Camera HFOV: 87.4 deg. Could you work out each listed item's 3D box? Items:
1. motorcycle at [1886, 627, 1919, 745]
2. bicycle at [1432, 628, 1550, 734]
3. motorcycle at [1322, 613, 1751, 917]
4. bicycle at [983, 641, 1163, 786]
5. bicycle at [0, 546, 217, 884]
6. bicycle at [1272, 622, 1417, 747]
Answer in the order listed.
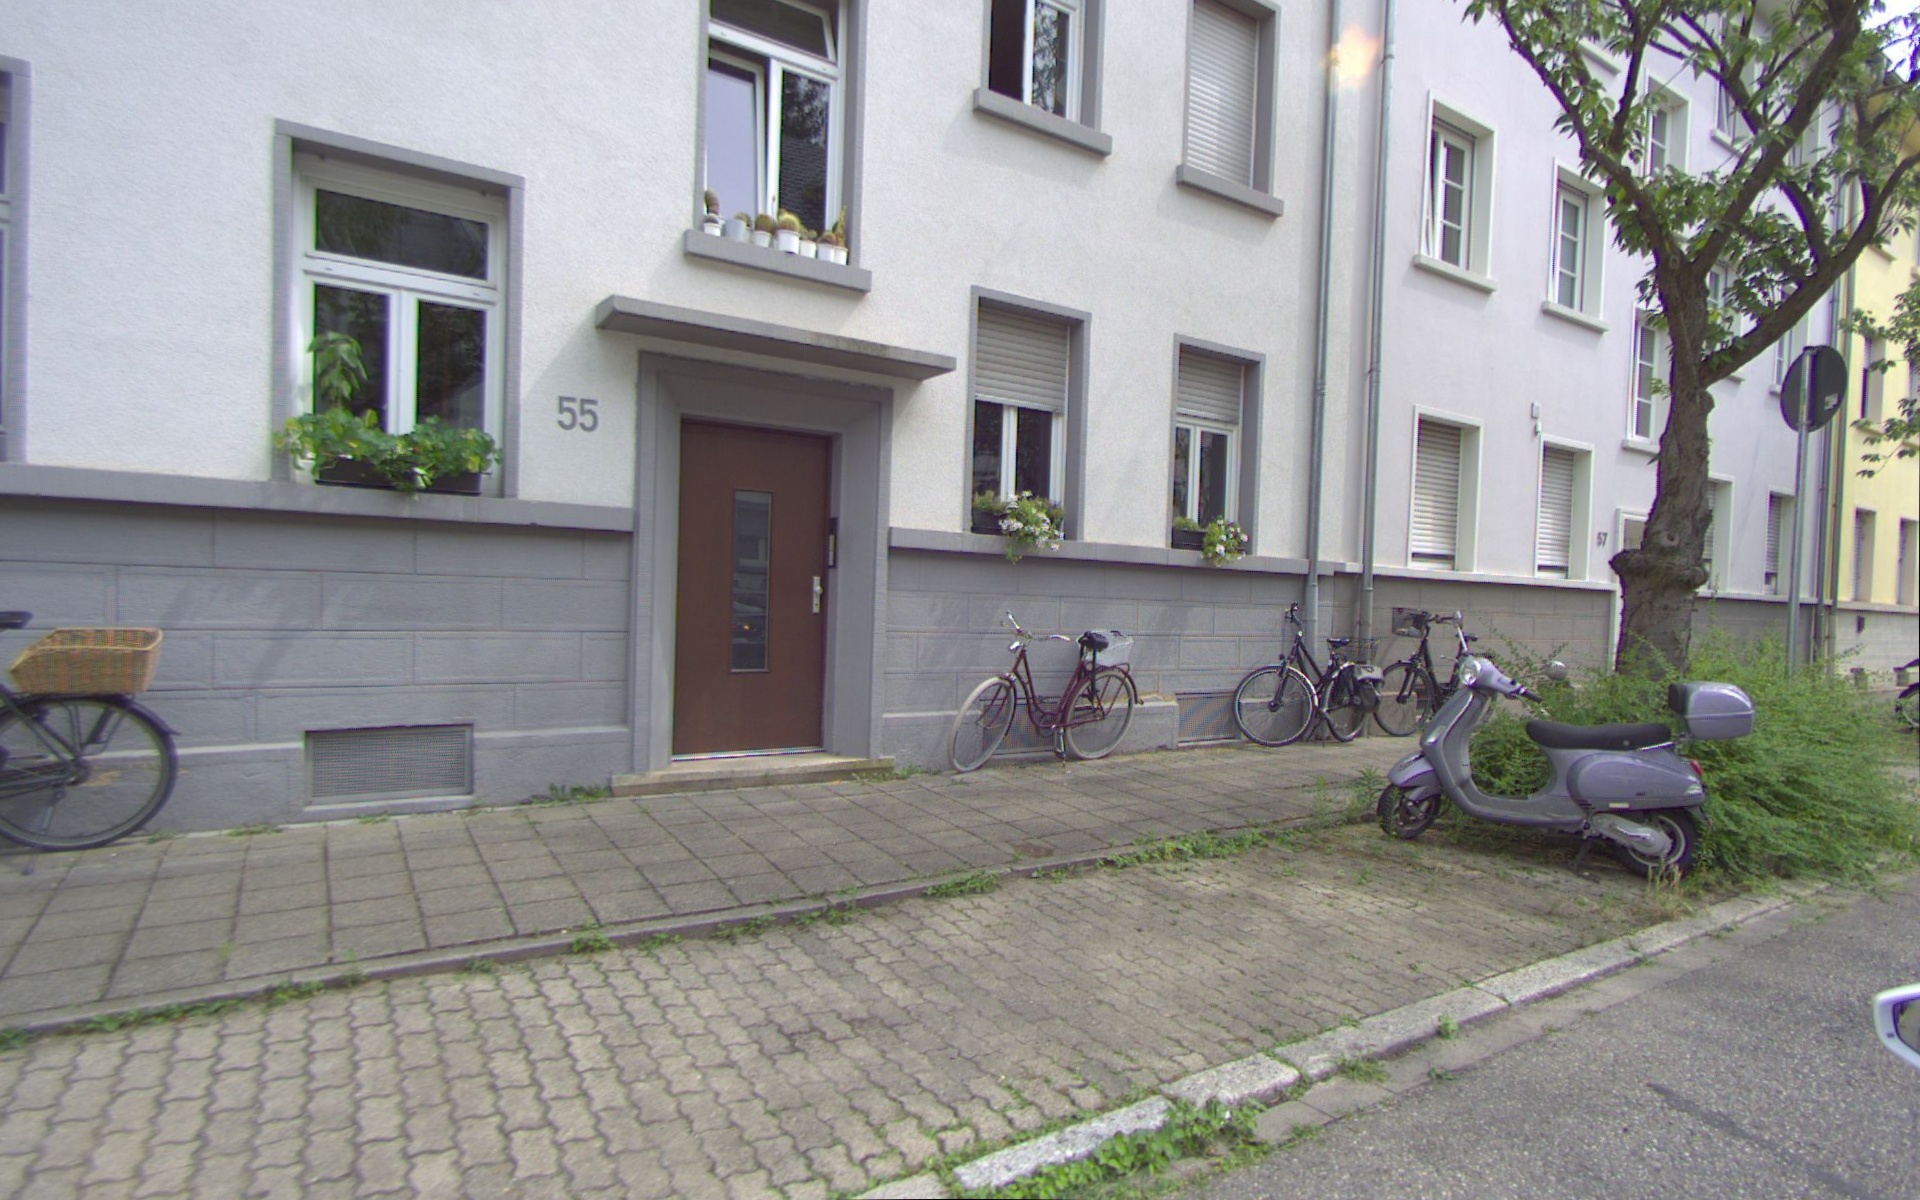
[{"bbox_3d":[13.115,1.099,12.533,2.199,1.501,0.596,0,-2,31],"label":"motorcycle"},{"bbox_3d":[5.461,0.813,10.307,1.418,1.020,0.418,2,-2,-32],"label":"bicycle"},{"bbox_3d":[3.193,0.798,5.728,0.787,1.425,1.992,2,-2,-43],"label":"motorcycle"},{"bbox_3d":[0.848,0.797,7.342,1.418,0.979,0.308,2,-2,-32],"label":"bicycle"},{"bbox_3d":[-4.165,0.454,4.064,1.791,1.351,0.427,2,-2,-32],"label":"bicycle"},{"bbox_3d":[3.374,0.719,8.770,1.418,1.020,0.418,2,-2,-32],"label":"bicycle"}]
